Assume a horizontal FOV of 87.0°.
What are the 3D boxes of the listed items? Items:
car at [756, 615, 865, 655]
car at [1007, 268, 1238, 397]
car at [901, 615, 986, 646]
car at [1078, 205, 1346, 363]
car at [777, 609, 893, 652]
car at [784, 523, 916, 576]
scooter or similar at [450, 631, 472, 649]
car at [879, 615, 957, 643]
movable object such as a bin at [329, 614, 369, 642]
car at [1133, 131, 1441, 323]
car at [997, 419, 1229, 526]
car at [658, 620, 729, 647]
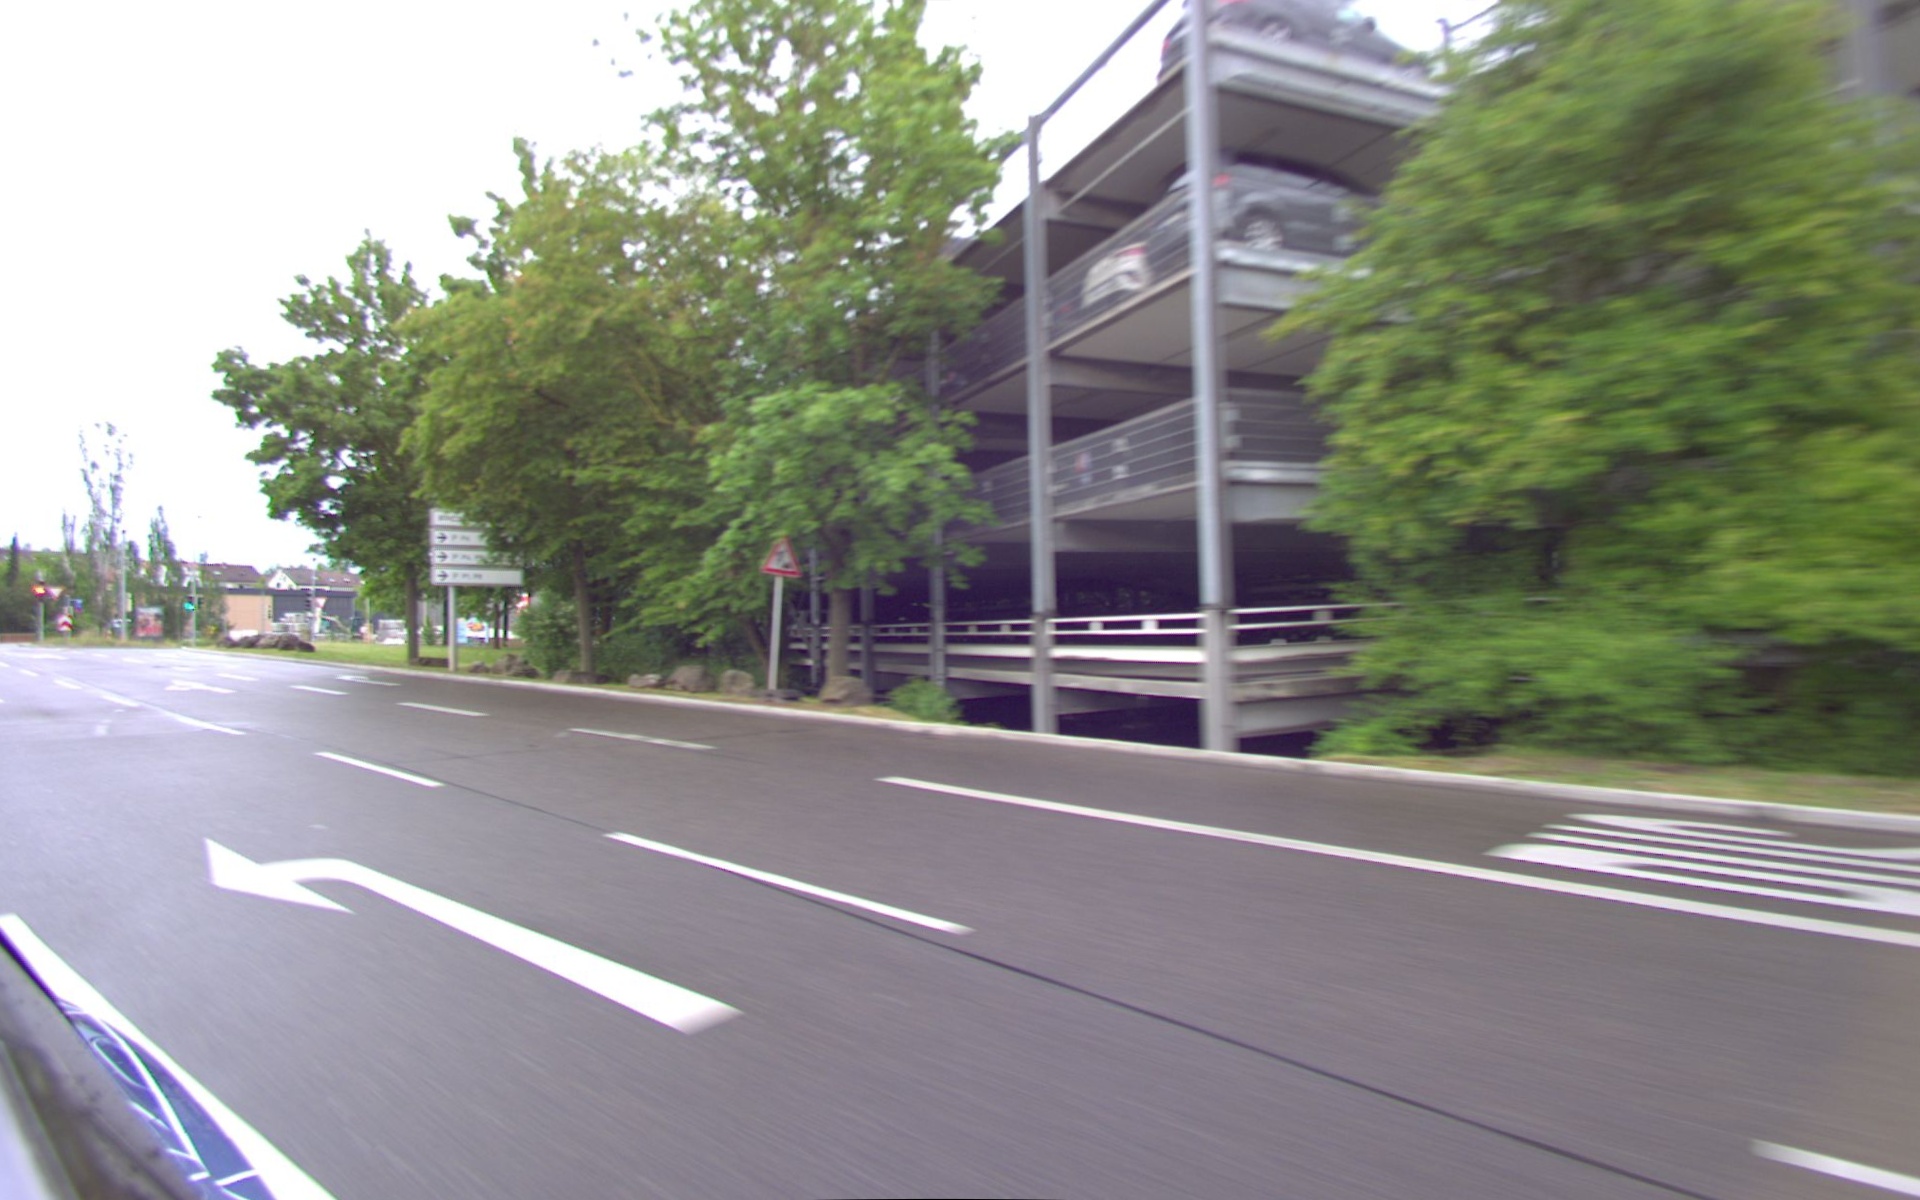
[{"bbox_3d":[-5.999,1.423,40.581,3.930,1.530,2.006,1,-2,-22],"label":"car"},{"bbox_3d":[3.129,-5.073,19.613,3.931,1.530,2.006,1,-2,-20],"label":"car"},{"bbox_3d":[-0.864,1.609,52.776,3.931,1.530,2.006,1,-2,-27],"label":"car"},{"bbox_3d":[4.217,-5.206,17.065,3.931,1.530,2.006,1,-2,-20],"label":"car"},{"bbox_3d":[-4.690,1.168,37.971,3.931,1.530,2.006,1,-2,-20],"label":"car"},{"bbox_3d":[-3.674,-1.676,33.712,3.931,1.530,2.006,-3,0,-20],"label":"car"},{"bbox_3d":[-35.587,2.861,72.185,0.516,1.269,1.211,-2,-5,35],"label":"scooter or similar"},{"bbox_3d":[-2.369,1.631,57.183,3.931,1.530,2.006,1,-2,-27],"label":"car"},{"bbox_3d":[-61.897,2.869,102.568,1.927,2.647,2.958,-3,-5,41],"label":"movable object such as a bin"},{"bbox_3d":[4.792,-5.367,14.957,3.931,1.530,2.006,1,-2,-20],"label":"car"},{"bbox_3d":[2.924,-2.370,19.483,3.931,1.530,2.006,1,-2,-20],"label":"car"},{"bbox_3d":[-16.103,2.030,61.071,3.931,1.530,2.006,1,-2,-21],"label":"car"}]
